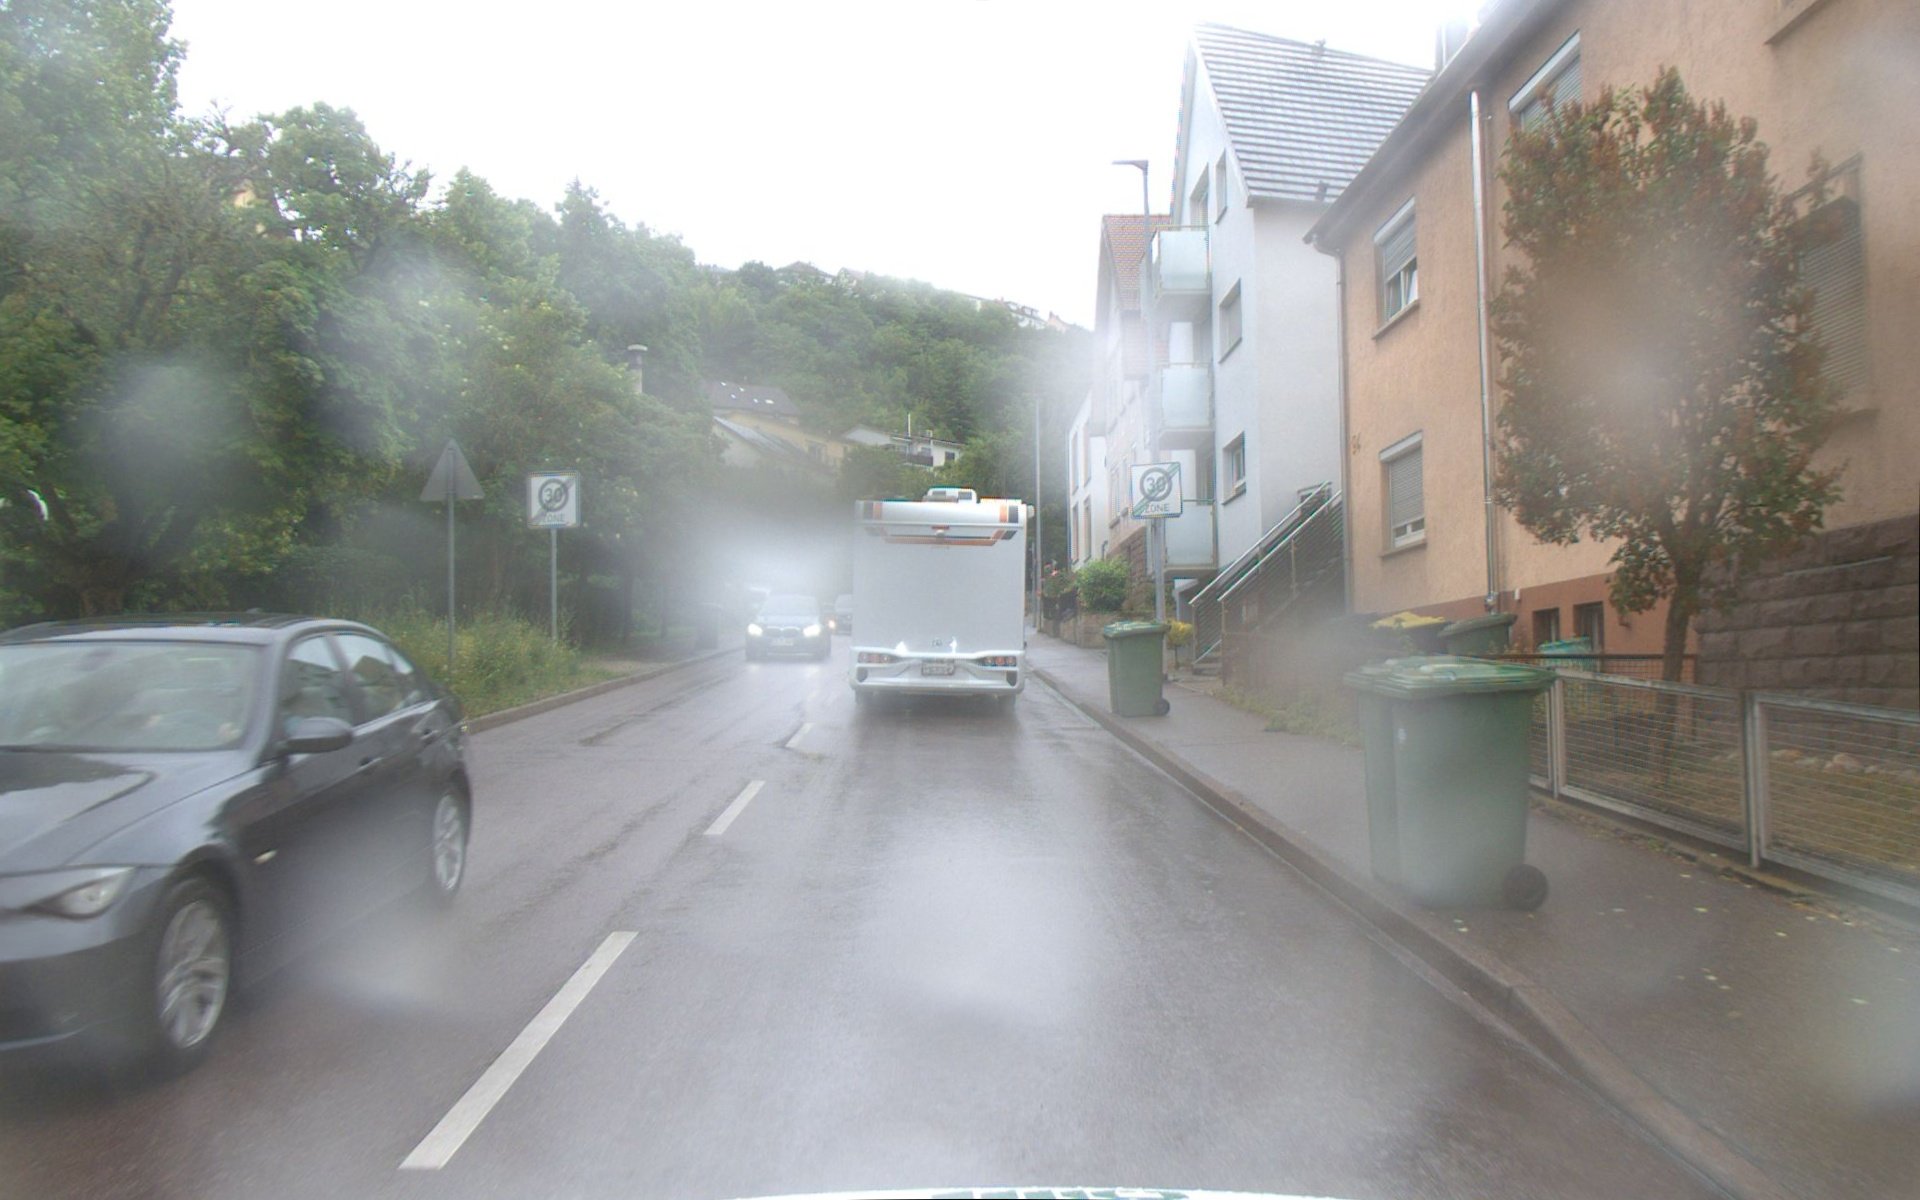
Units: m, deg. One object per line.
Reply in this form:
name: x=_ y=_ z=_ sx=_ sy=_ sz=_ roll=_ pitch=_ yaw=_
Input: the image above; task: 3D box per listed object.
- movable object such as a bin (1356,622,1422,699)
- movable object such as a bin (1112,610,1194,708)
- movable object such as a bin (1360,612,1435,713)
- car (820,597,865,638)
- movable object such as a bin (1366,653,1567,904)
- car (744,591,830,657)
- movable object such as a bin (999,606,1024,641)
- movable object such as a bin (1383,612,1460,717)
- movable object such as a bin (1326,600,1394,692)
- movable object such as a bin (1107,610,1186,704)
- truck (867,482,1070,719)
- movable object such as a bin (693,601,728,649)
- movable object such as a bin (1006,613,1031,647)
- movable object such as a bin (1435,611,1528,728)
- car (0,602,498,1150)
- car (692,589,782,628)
movable object such as a bin: x=5.206 y=0.725 z=20.099 sx=0.656 sy=0.911 sz=0.536 roll=0 pitch=0 yaw=-2
movable object such as a bin: x=2.264 y=0.685 z=19.456 sx=0.895 sy=1.122 sz=0.702 roll=0 pitch=0 yaw=1
movable object such as a bin: x=5.112 y=0.721 z=19.351 sx=0.647 sy=1.112 sz=0.545 roll=-4 pitch=0 yaw=-3
car: x=-4.388 y=0.634 z=62.140 sx=1.586 sy=1.466 sz=3.736 roll=0 pitch=0 yaw=-2
movable object such as a bin: x=2.318 y=0.796 z=7.652 sx=0.705 sy=1.070 sz=0.800 roll=0 pitch=0 yaw=2
car: x=-3.989 y=0.539 z=38.646 sx=1.684 sy=1.455 sz=3.844 roll=0 pitch=0 yaw=-1
movable object such as a bin: x=1.605 y=0.723 z=51.956 sx=0.780 sy=1.089 sz=0.761 roll=0 pitch=0 yaw=1
movable object such as a bin: x=5.213 y=0.723 z=18.699 sx=0.632 sy=1.112 sz=0.545 roll=-4 pitch=0 yaw=-3
movable object such as a bin: x=5.114 y=0.583 z=21.170 sx=0.647 sy=1.112 sz=0.545 roll=-4 pitch=0 yaw=-3
movable object such as a bin: x=2.269 y=0.684 z=20.204 sx=0.895 sy=1.122 sz=0.702 roll=0 pitch=0 yaw=1
truck: x=0.013 y=0.005 z=23.174 sx=2.465 sy=2.867 sz=6.199 roll=0 pitch=0 yaw=-2
movable object such as a bin: x=-6.044 y=0.603 z=40.078 sx=0.706 sy=1.119 sz=0.757 roll=1 pitch=0 yaw=-1
movable object such as a bin: x=1.573 y=0.803 z=44.516 sx=0.617 sy=0.913 sz=0.712 roll=0 pitch=0 yaw=-1
movable object such as a bin: x=5.270 y=0.695 z=16.745 sx=0.647 sy=1.112 sz=0.655 roll=-3 pitch=0 yaw=-3
car: x=-3.142 y=0.756 z=6.538 sx=1.528 sy=1.480 sz=4.084 roll=0 pitch=0 yaw=-1
car: x=-10.667 y=0.407 z=79.462 sx=4.021 sy=1.831 sz=2.000 roll=0 pitch=0 yaw=1
